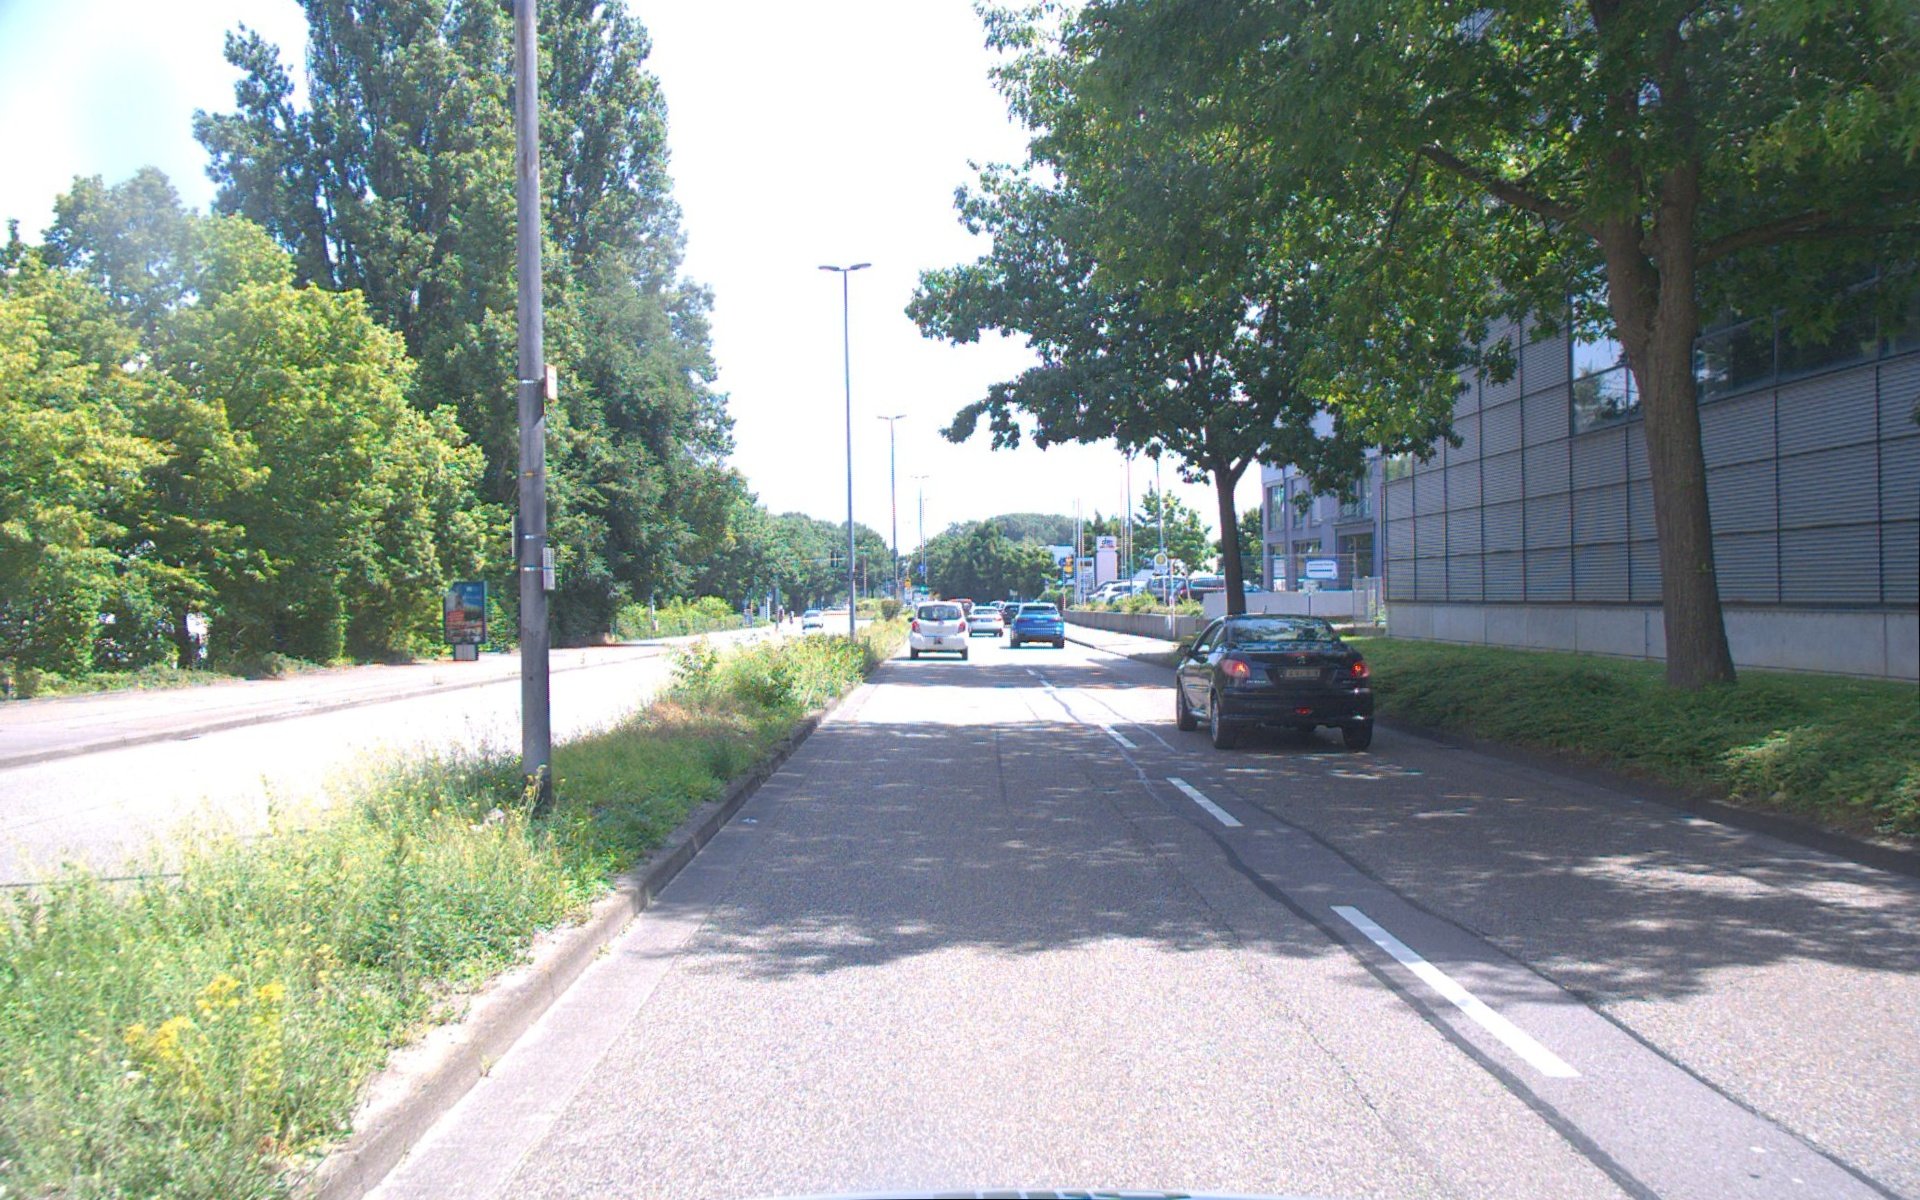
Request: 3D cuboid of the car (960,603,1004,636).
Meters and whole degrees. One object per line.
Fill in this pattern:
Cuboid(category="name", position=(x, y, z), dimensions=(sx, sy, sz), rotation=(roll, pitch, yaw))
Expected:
Cuboid(category="car", position=(1.030, 0.932, 79.284), dimensions=(1.953, 1.467, 3.999), rotation=(-2, 0, -1))

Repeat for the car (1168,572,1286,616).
Cuboid(category="car", position=(10.862, -0.248, 67.496), dimensions=(4.408, 1.610, 1.999), rotation=(-2, 0, -2))

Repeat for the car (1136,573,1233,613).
Cuboid(category="car", position=(10.312, -0.319, 76.222), dimensions=(4.141, 1.676, 1.999), rotation=(-2, 0, -2))

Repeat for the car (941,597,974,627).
Cuboid(category="car", position=(-0.186, 0.730, 101.666), dimensions=(1.741, 1.771, 3.997), rotation=(-2, 0, -4))

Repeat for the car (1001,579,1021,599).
Cuboid(category="car", position=(5.442, -1.149, 177.662), dimensions=(1.735, 2.049, 3.988), rotation=(-2, 0, -4))

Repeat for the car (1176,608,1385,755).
Cuboid(category="car", position=(3.410, 0.814, 18.171), dimensions=(1.594, 1.388, 3.605), rotation=(0, 1, 0))

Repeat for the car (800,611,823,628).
Cuboid(category="car", position=(-12.678, 1.654, 141.688), dimensions=(1.701, 1.438, 4.369), rotation=(-2, 0, -2))

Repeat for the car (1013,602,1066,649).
Cuboid(category="car", position=(2.803, 0.933, 58.978), dimensions=(1.790, 1.608, 3.606), rotation=(-1, -2, 2))

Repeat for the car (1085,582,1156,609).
Cuboid(category="car", position=(10.305, -0.286, 106.442), dimensions=(4.260, 1.571, 1.999), rotation=(-2, 0, -3))

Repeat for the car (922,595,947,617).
Cuboid(category="car", position=(-2.157, 0.469, 138.433), dimensions=(1.784, 1.691, 3.996), rotation=(-1, 1, -5))

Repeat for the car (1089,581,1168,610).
Cuboid(category="car", position=(9.984, -0.260, 98.167), dimensions=(4.443, 1.571, 1.999), rotation=(-2, 0, -1))

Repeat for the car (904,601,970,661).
Cuboid(category="car", position=(-0.584, 0.810, 45.413), dimensions=(1.712, 1.546, 3.746), rotation=(0, 1, 1))

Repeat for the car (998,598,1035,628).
Cuboid(category="car", position=(3.318, 0.784, 98.571), dimensions=(1.953, 1.668, 3.999), rotation=(-2, 0, -1))
